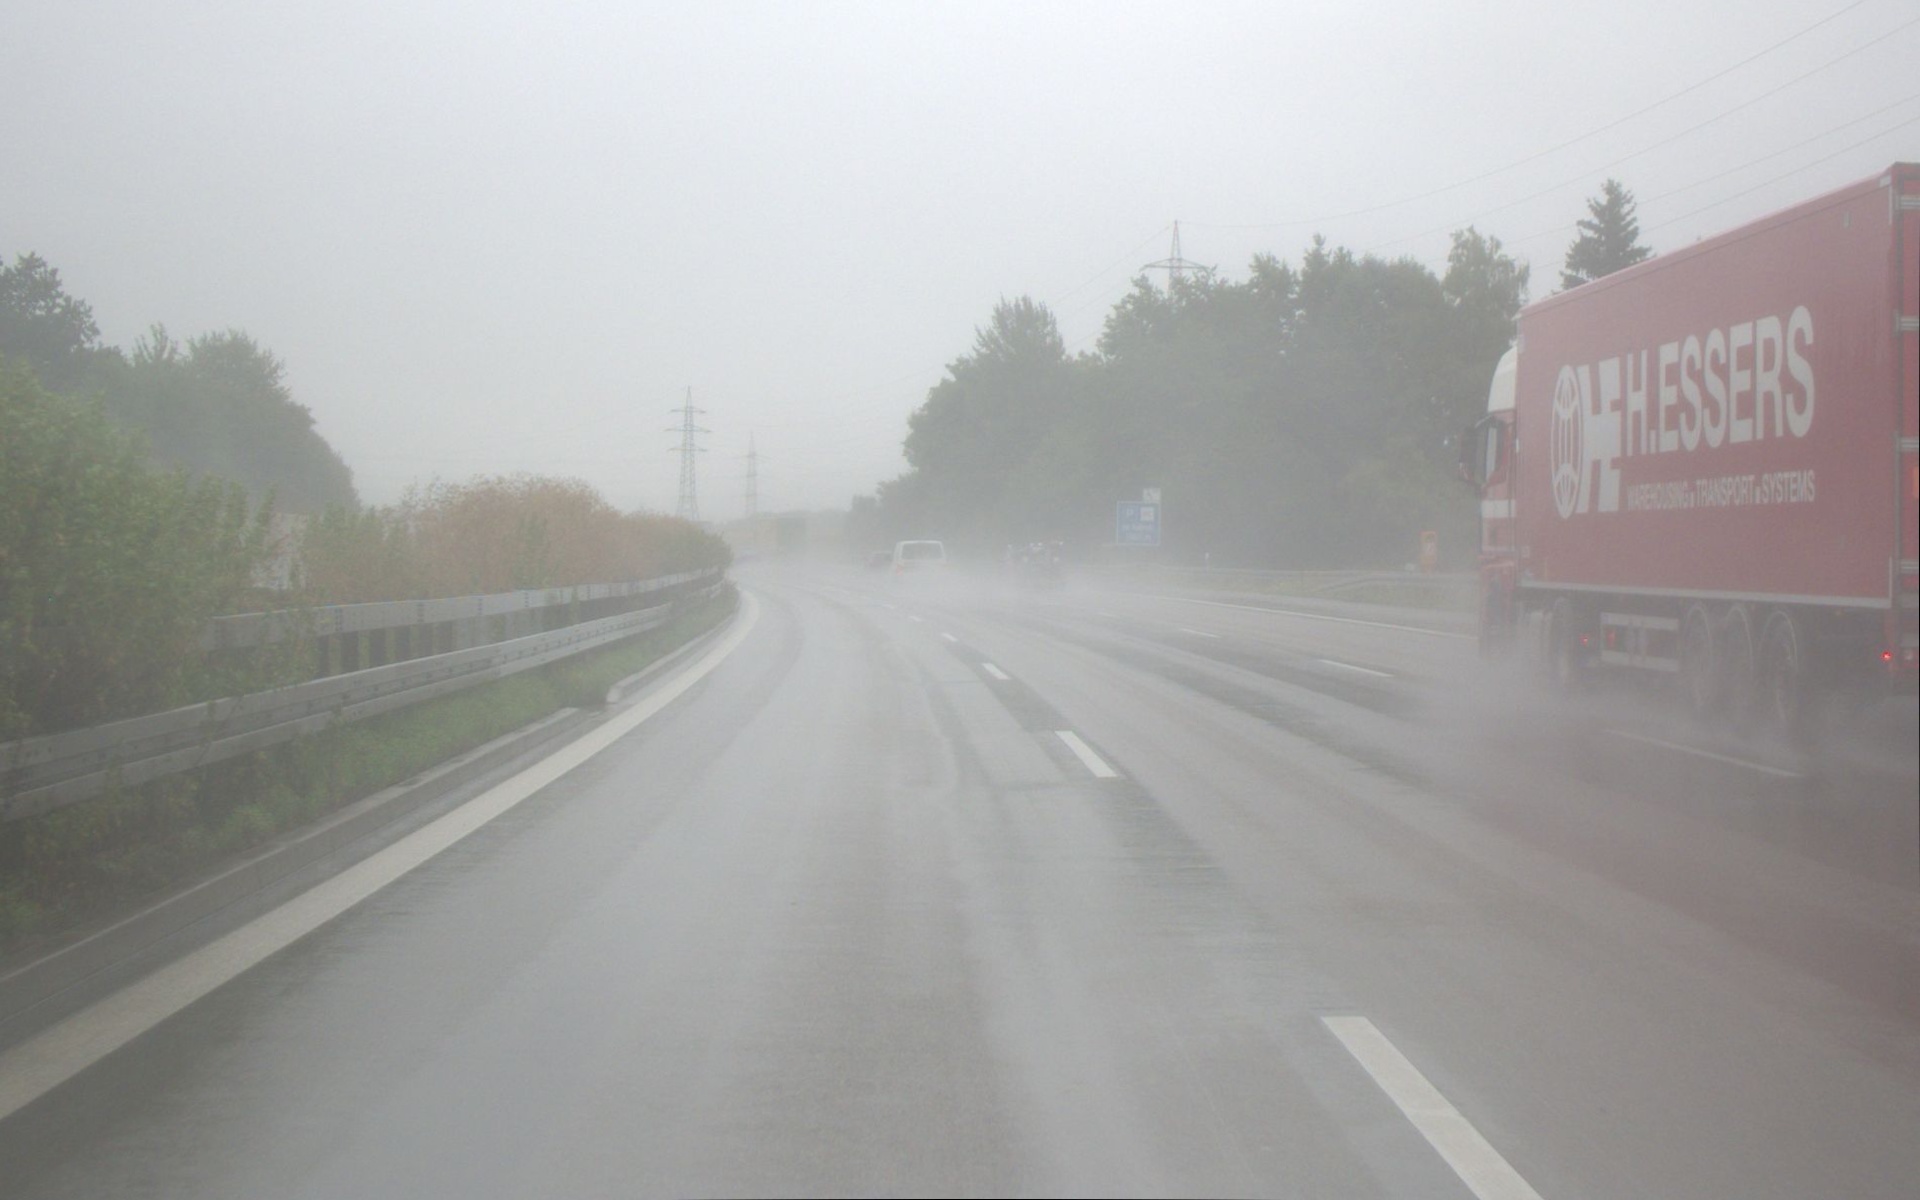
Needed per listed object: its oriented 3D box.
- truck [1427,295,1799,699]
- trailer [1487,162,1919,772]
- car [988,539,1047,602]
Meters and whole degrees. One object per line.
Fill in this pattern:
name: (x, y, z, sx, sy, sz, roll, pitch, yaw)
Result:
truck: (6.798, -1.058, 36.521, 2.620, 3.942, 5.434, -1, 1, -3)
trailer: (7.160, -0.983, 29.112, 2.620, 3.942, 13.632, -1, 1, -3)
car: (1.996, -1.065, 121.161, 1.807, 2.151, 4.001, -1, 1, -3)
